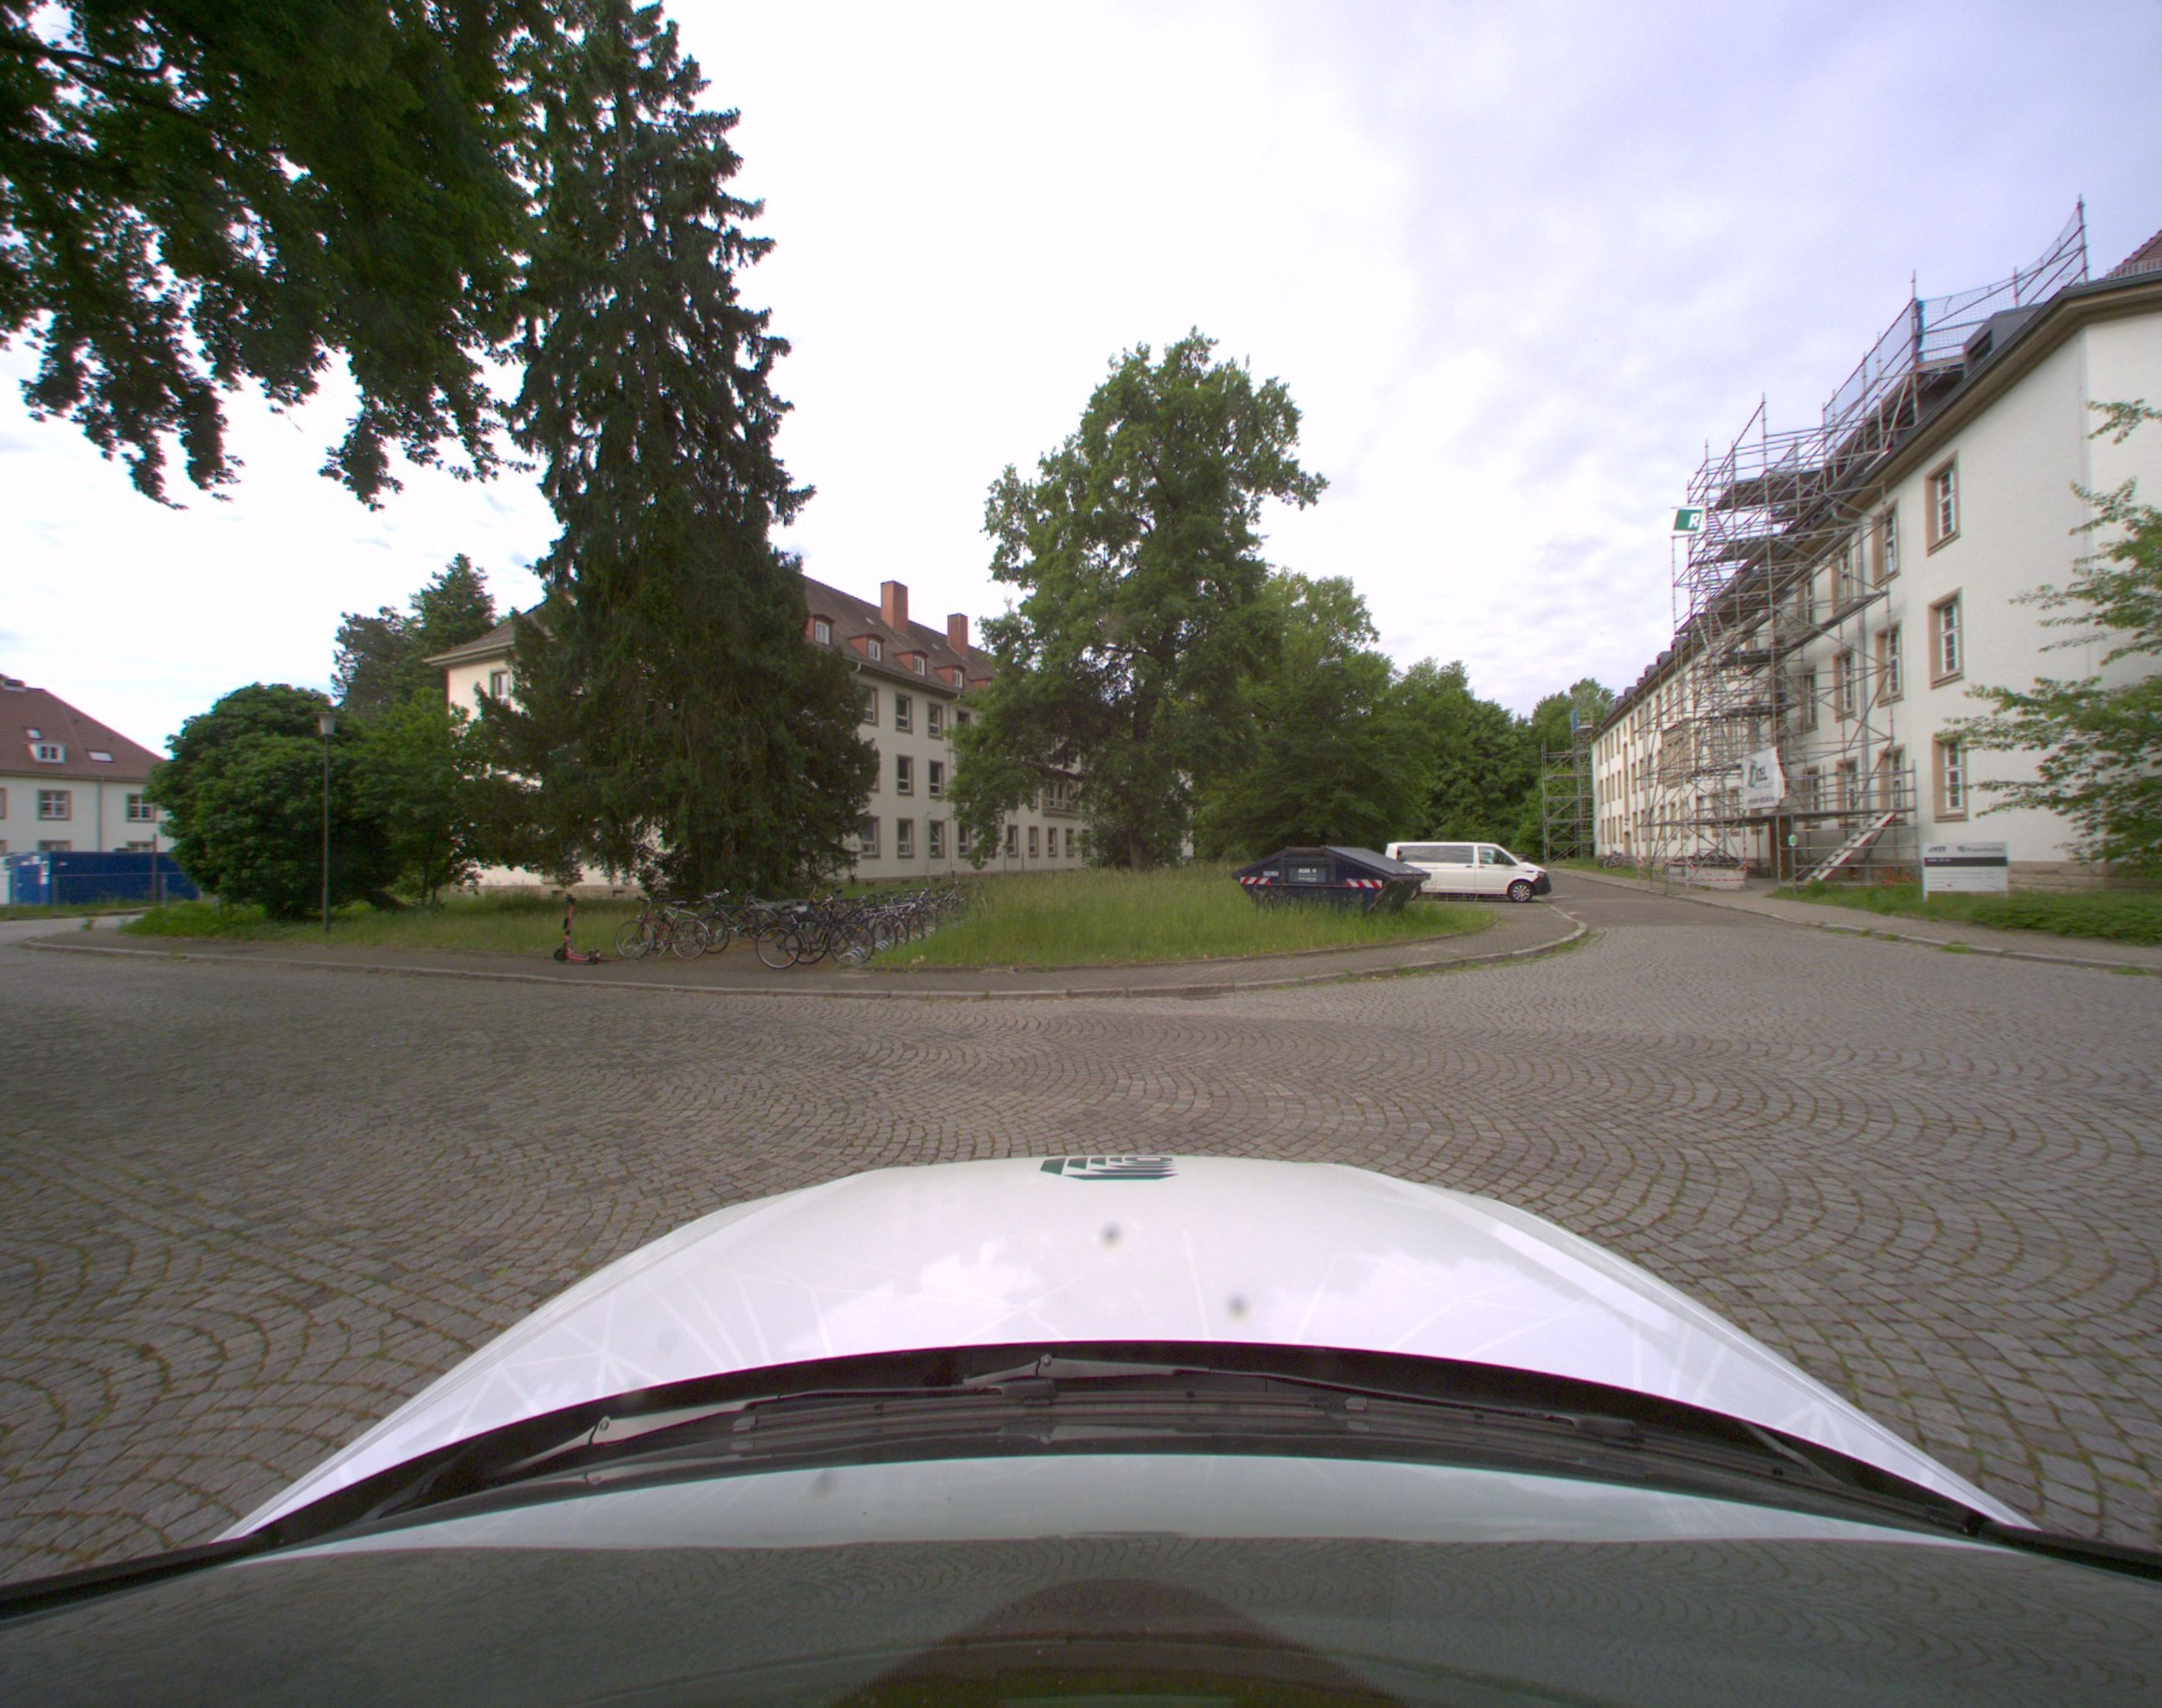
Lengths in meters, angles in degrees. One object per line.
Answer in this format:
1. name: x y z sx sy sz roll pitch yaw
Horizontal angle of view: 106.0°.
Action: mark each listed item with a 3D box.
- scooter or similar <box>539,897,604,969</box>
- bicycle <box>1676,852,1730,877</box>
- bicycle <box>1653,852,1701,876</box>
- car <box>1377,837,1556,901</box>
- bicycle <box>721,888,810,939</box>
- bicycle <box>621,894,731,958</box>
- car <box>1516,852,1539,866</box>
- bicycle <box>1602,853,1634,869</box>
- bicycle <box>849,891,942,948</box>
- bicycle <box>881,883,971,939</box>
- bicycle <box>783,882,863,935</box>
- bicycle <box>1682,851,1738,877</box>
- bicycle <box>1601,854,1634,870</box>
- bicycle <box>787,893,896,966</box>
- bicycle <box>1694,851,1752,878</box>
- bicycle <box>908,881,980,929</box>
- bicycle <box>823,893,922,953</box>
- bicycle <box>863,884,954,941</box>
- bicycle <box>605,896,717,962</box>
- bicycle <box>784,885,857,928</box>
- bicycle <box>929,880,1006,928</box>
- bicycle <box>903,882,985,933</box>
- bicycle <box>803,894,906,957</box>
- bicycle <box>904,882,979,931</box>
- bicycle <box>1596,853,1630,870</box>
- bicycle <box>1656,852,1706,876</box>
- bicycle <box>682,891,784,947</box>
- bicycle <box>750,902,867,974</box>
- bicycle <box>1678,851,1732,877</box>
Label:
1. scooter or similar: -8.975 1.379 14.339 1.124 1.210 0.359 -2 -1 21
2. bicycle: 27.931 0.462 36.606 1.838 1.095 0.514 -2 -1 32
3. bicycle: 29.114 0.488 39.814 1.838 1.095 0.514 -2 -1 32
4. car: 12.822 0.529 27.382 5.211 1.997 1.980 -2 -1 25
5. bicycle: -7.012 1.316 18.134 1.743 1.065 0.551 -1 -1 -1
6. bicycle: -7.498 1.334 15.088 1.789 1.114 0.552 -1 -1 7
7. car: 44.990 0.529 82.077 1.565 1.371 3.975 -2 -1 23
8. bicycle: 38.019 0.490 57.697 1.838 1.095 0.514 -2 -1 32
9. bicycle: -3.561 1.260 15.667 1.652 1.008 0.479 -3 -1 9
10. bicycle: -3.247 1.188 17.098 1.752 1.112 0.478 -1 -1 3
11. bicycle: -5.983 1.256 18.862 1.735 1.171 0.554 -2 -1 17
12. bicycle: 27.165 0.452 35.193 1.838 1.095 0.514 -2 -1 32
13. bicycle: 37.249 0.542 56.530 0.514 1.095 1.839 0 -1 -42
14. bicycle: -3.894 1.227 13.318 1.615 1.074 0.477 -2 -1 -6
15. bicycle: 27.218 0.444 34.561 1.838 1.095 0.514 -2 -1 32
16. bicycle: -3.261 1.224 19.433 1.634 1.112 0.444 -1 -1 14
17. bicycle: -3.819 1.253 14.930 1.652 1.008 0.479 -3 -1 9
18. bicycle: -3.516 1.185 16.629 1.749 1.112 0.479 -1 -1 9
19. bicycle: -7.509 1.340 14.591 1.754 1.114 0.552 -1 -1 7
20. bicycle: -6.640 1.334 20.772 1.667 1.042 0.553 -1 -1 11
21. bicycle: -2.769 1.217 19.902 1.749 1.112 0.479 -1 -1 9
22. bicycle: -3.094 1.202 18.404 1.749 1.112 0.479 -1 -1 9
23. bicycle: -3.985 1.248 14.327 1.652 1.008 0.479 -3 -1 9
24. bicycle: -3.233 1.217 18.875 1.634 1.112 0.444 -1 -1 14
25. bicycle: 35.957 0.535 55.062 0.514 1.095 1.839 0 -1 -42
26. bicycle: 28.672 0.483 38.949 1.838 1.095 0.514 -2 -1 32
27. bicycle: -7.136 1.329 16.755 1.814 1.065 0.618 -1 -1 -1
28. bicycle: -4.220 1.294 12.683 1.615 1.008 0.477 -2 -1 -6
29. bicycle: 27.491 0.461 35.922 1.838 1.095 0.514 -2 -1 32
